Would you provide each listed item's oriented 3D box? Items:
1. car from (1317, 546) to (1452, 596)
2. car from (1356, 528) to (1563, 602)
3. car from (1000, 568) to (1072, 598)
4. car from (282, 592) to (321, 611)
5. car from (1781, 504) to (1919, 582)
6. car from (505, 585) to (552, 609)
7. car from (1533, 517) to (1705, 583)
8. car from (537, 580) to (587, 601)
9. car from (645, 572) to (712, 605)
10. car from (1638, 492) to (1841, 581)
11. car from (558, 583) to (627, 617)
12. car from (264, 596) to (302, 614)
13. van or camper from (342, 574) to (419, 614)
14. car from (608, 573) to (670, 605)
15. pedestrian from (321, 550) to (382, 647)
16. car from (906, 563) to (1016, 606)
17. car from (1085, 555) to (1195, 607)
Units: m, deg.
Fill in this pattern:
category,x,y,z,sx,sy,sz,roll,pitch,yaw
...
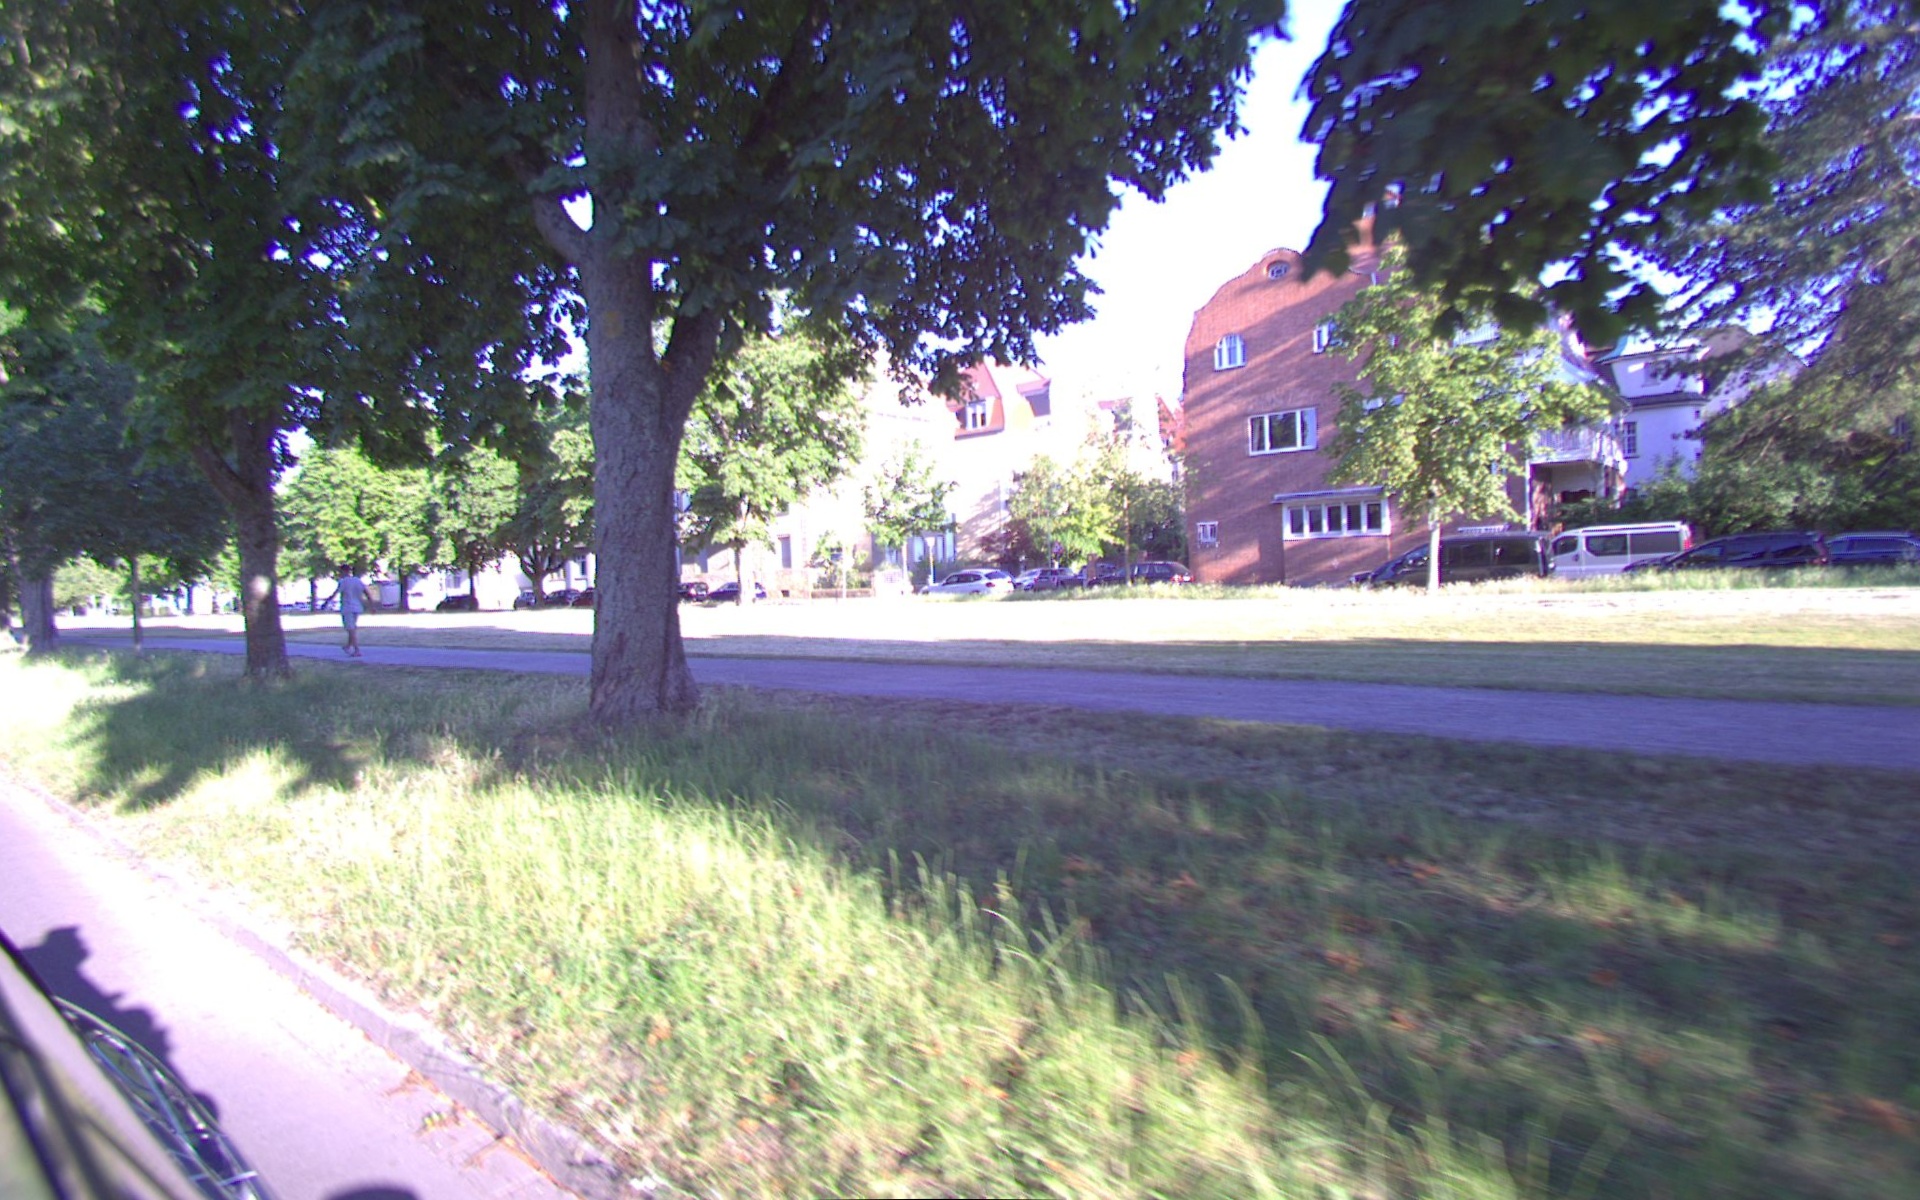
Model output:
category,x,y,z,sx,sy,sz,roll,pitch,yaw
car,15.853,-1.071,37.944,4.303,1.635,1.739,-2,2,41
car,15.036,-1.013,30.652,5.244,1.955,1.973,-2,2,42
car,4.919,-1.091,64.975,2.188,1.619,4.805,-1,3,41
car,-65.212,0.154,100.213,4.873,1.702,1.973,-1,2,41
car,25.935,-1.632,28.691,3.999,2.028,1.973,-1,3,42
car,-34.638,-0.260,81.226,4.000,1.747,1.972,-1,2,43
car,21.172,-1.582,32.622,4.406,1.851,1.798,-2,2,41
car,-30.871,-0.740,78.434,4.168,1.440,1.973,-2,2,43
car,-18.750,-0.736,67.247,4.875,2.028,1.972,-1,2,43
car,20.057,-1.590,26.135,3.998,2.028,1.973,-1,3,41
car,-23.255,0.022,63.908,4.875,2.028,1.972,-1,2,43
car,-69.406,0.527,103.753,4.873,1.702,1.973,-1,2,41
van or camper,-50.079,-0.466,87.394,7.893,3.133,3.221,-1,2,41
car,-22.360,-0.782,70.518,4.425,2.028,1.974,-1,2,39
pedestrian,-11.542,-0.025,19.184,0.716,1.771,0.994,-4,2,-43
car,0.006,-0.632,43.674,4.647,1.651,1.801,-1,2,41
car,7.737,-0.801,43.733,4.366,2.028,1.739,-2,2,41
